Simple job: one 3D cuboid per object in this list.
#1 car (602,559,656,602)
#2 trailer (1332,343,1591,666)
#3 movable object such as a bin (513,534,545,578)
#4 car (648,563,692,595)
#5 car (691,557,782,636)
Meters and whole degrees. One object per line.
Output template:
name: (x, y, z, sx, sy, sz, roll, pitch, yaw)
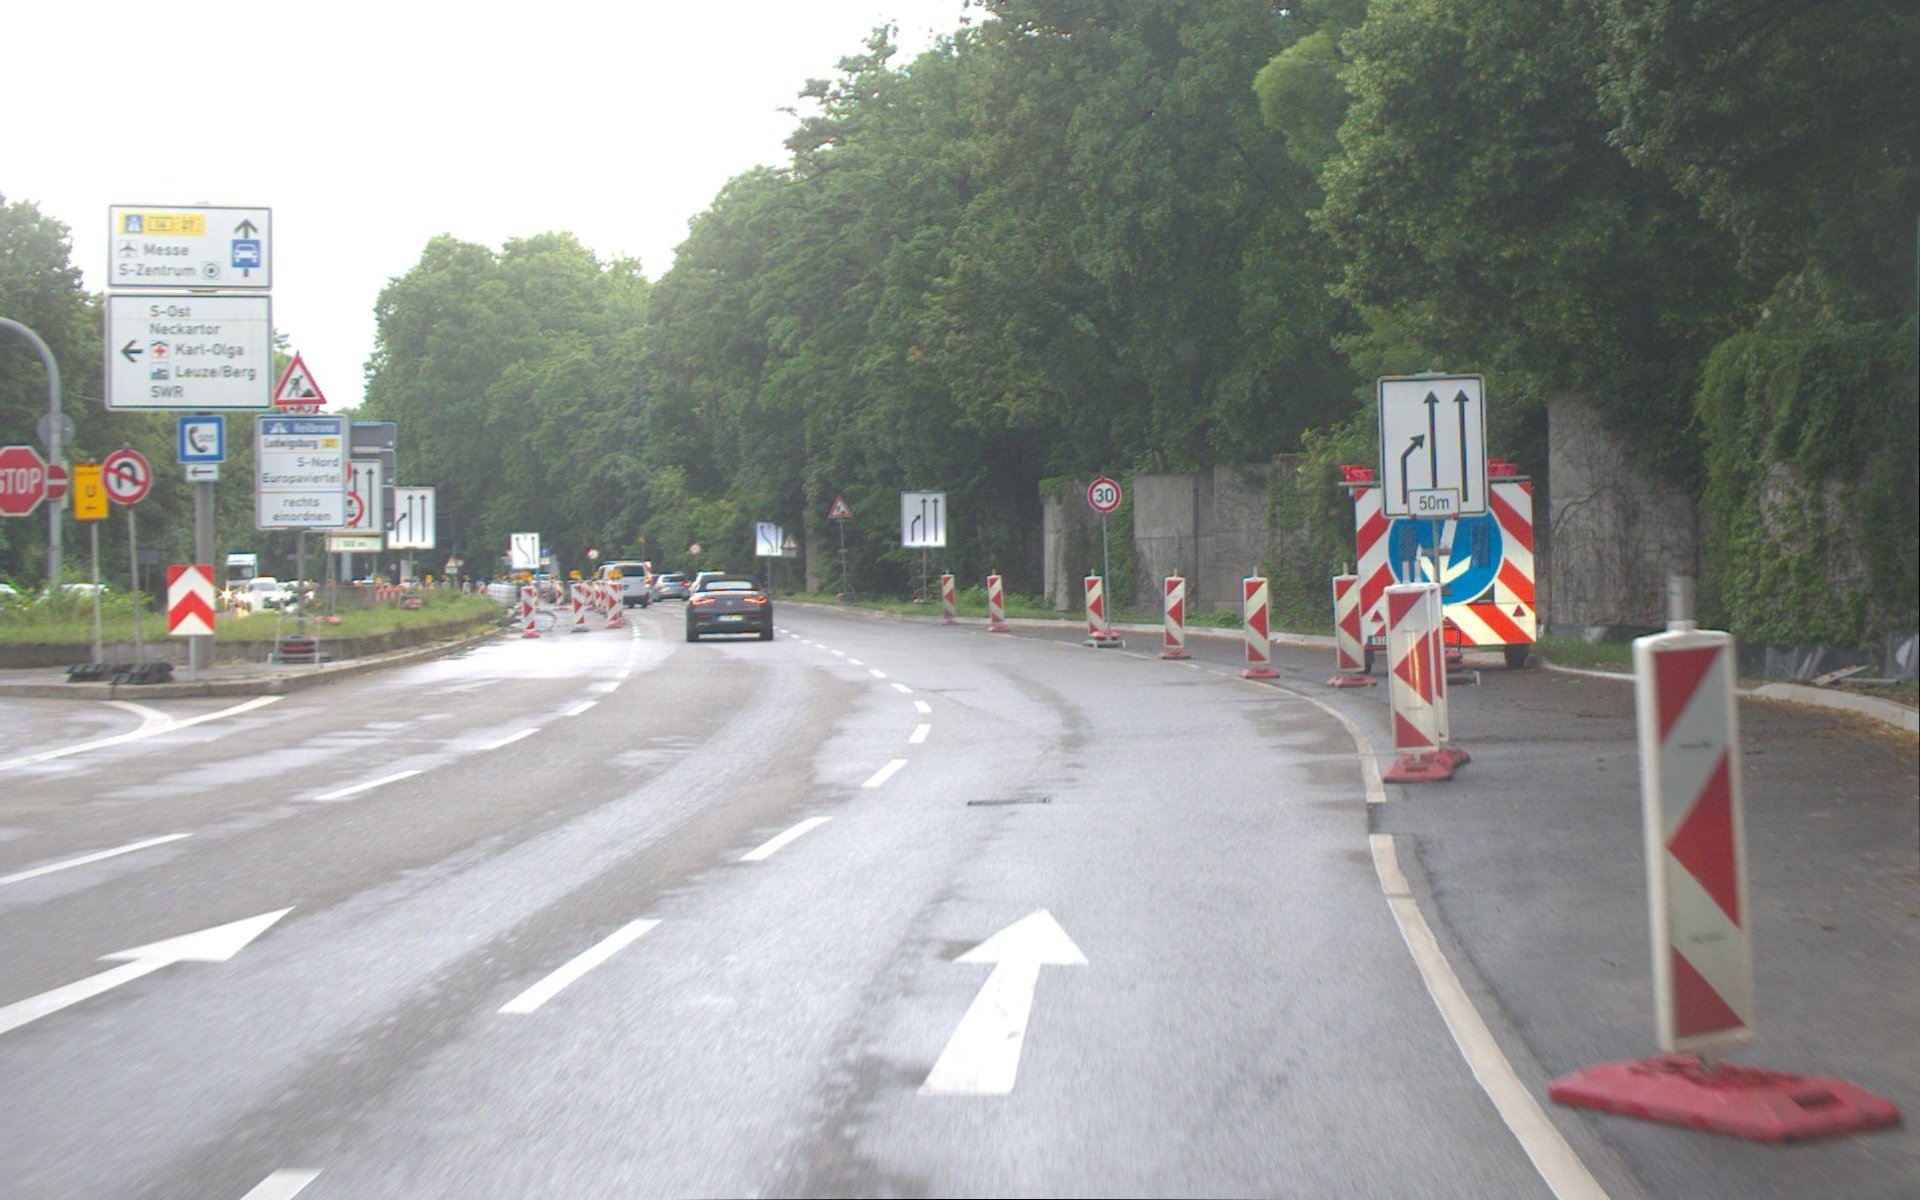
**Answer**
car: (-9.918, -0.592, 103.022, 1.389, 1.229, 3.083, 1, 1, -2)
trailer: (5.993, -1.114, 41.857, 2.307, 3.577, 5.960, -2, 1, 1)
movable object such as a bin: (-29.375, -2.993, 234.101, 1.746, 2.857, 3.535, -2, 1, -12)
car: (-14.977, -1.109, 177.282, 1.861, 1.486, 4.002, 0, 3, -11)
car: (-4.784, -0.096, 74.055, 1.862, 1.486, 4.001, 0, 3, -3)
